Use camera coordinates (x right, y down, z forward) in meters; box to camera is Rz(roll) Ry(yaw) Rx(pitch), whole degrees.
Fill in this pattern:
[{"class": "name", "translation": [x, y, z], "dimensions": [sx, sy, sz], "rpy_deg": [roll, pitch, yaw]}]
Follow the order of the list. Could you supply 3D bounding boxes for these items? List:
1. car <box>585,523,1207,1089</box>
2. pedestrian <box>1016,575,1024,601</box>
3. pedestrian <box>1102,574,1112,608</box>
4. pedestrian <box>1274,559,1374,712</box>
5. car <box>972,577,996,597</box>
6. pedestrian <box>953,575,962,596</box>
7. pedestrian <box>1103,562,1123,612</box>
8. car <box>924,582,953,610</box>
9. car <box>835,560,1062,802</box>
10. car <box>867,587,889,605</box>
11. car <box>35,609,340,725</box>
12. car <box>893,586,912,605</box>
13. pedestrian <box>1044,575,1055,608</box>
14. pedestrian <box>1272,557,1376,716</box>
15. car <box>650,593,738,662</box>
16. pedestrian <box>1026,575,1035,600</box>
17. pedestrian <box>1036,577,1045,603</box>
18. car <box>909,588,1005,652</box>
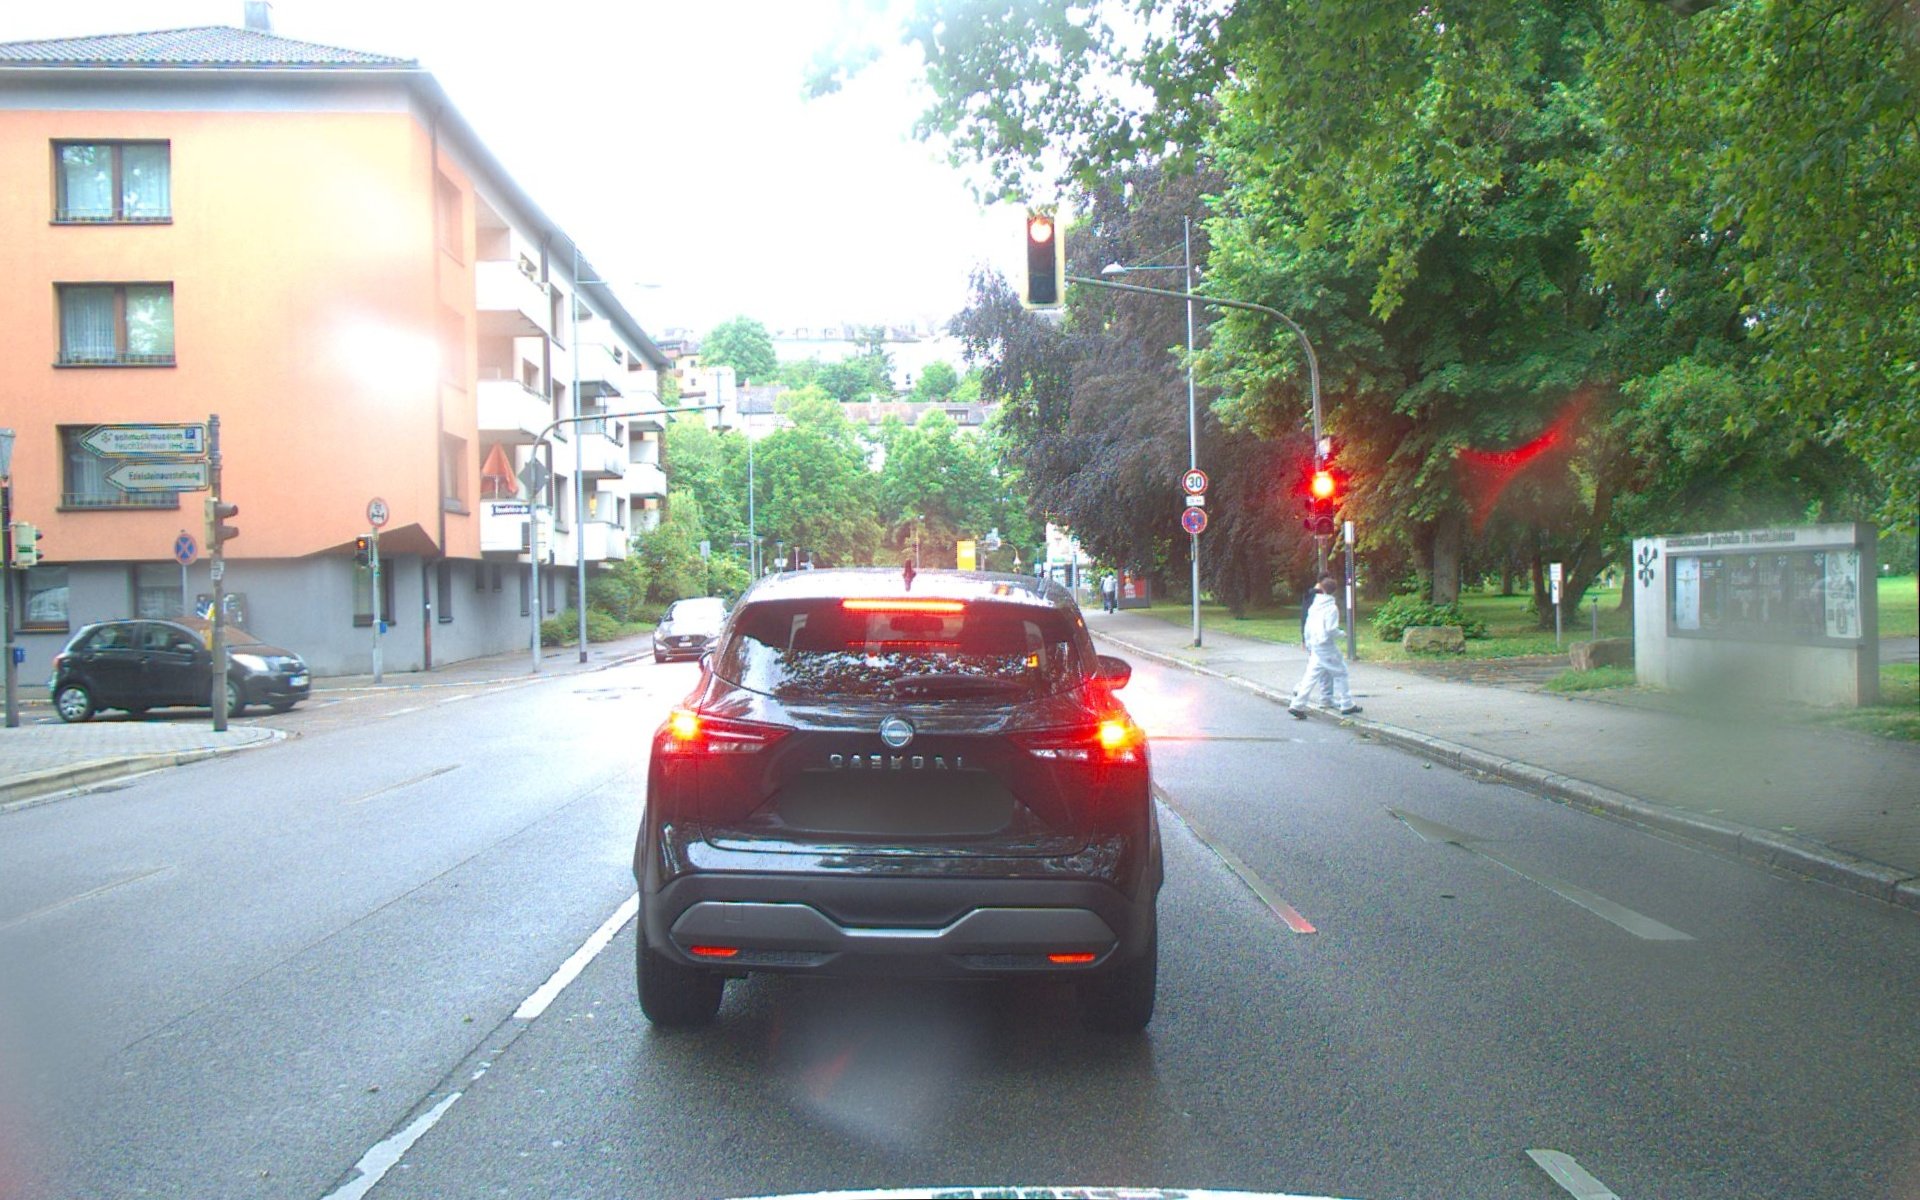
[{"class": "car", "translation": [-0.214, 0.613, 7.009], "dimensions": [1.874, 1.709, 3.999], "rpy_deg": [0, 0, -1]}, {"class": "pedestrian", "translation": [4.319, -0.870, 119.867], "dimensions": [0.498, 1.833, 0.619], "rpy_deg": [-2, 0, -1]}, {"class": "pedestrian", "translation": [6.611, -0.408, 74.435], "dimensions": [0.382, 1.528, 0.559], "rpy_deg": [-2, 0, -1]}, {"class": "pedestrian", "translation": [4.732, 0.453, 21.534], "dimensions": [1.017, 1.908, 0.656], "rpy_deg": [-3, 0, -11]}, {"class": "car", "translation": [2.176, -1.178, 149.522], "dimensions": [1.952, 1.765, 4.002], "rpy_deg": [1, 0, 4]}, {"class": "pedestrian", "translation": [-0.192, -1.164, 135.177], "dimensions": [0.498, 1.702, 0.658], "rpy_deg": [-2, 0, 27]}, {"class": "pedestrian", "translation": [6.435, -0.538, 69.539], "dimensions": [0.710, 2.049, 0.851], "rpy_deg": [-2, 0, -1]}, {"class": "car", "translation": [-1.286, -0.245, 98.621], "dimensions": [1.601, 1.559, 3.967], "rpy_deg": [-2, 0, -1]}, {"class": "car", "translation": [-0.112, 0.600, 14.348], "dimensions": [1.664, 1.776, 3.640], "rpy_deg": [-2, 0, -1]}, {"class": "car", "translation": [-7.630, -0.369, 154.110], "dimensions": [1.930, 1.559, 3.967], "rpy_deg": [-2, 0, -1]}, {"class": "car", "translation": [-11.730, 0.998, 25.270], "dimensions": [3.774, 1.560, 1.802], "rpy_deg": [-2, 0, 3]}, {"class": "car", "translation": [-5.066, -0.426, 146.565], "dimensions": [1.601, 1.559, 3.967], "rpy_deg": [-2, 0, -1]}, {"class": "pedestrian", "translation": [4.972, -0.482, 91.799], "dimensions": [0.498, 1.833, 0.619], "rpy_deg": [-2, 0, -1]}, {"class": "pedestrian", "translation": [4.566, 0.448, 20.780], "dimensions": [1.017, 1.908, 0.656], "rpy_deg": [-3, 0, -11]}, {"class": "car", "translation": [-6.514, 0.631, 40.802], "dimensions": [1.760, 1.560, 3.864], "rpy_deg": [-2, 0, -4]}, {"class": "pedestrian", "translation": [5.077, -0.901, 118.966], "dimensions": [0.498, 1.833, 0.658], "rpy_deg": [-2, 0, -4]}, {"class": "pedestrian", "translation": [5.814, -0.741, 119.620], "dimensions": [0.498, 1.833, 0.619], "rpy_deg": [-2, 0, -2]}, {"class": "car", "translation": [-0.008, 0.452, 41.445], "dimensions": [1.787, 1.428, 4.654], "rpy_deg": [-2, 0, 7]}]
